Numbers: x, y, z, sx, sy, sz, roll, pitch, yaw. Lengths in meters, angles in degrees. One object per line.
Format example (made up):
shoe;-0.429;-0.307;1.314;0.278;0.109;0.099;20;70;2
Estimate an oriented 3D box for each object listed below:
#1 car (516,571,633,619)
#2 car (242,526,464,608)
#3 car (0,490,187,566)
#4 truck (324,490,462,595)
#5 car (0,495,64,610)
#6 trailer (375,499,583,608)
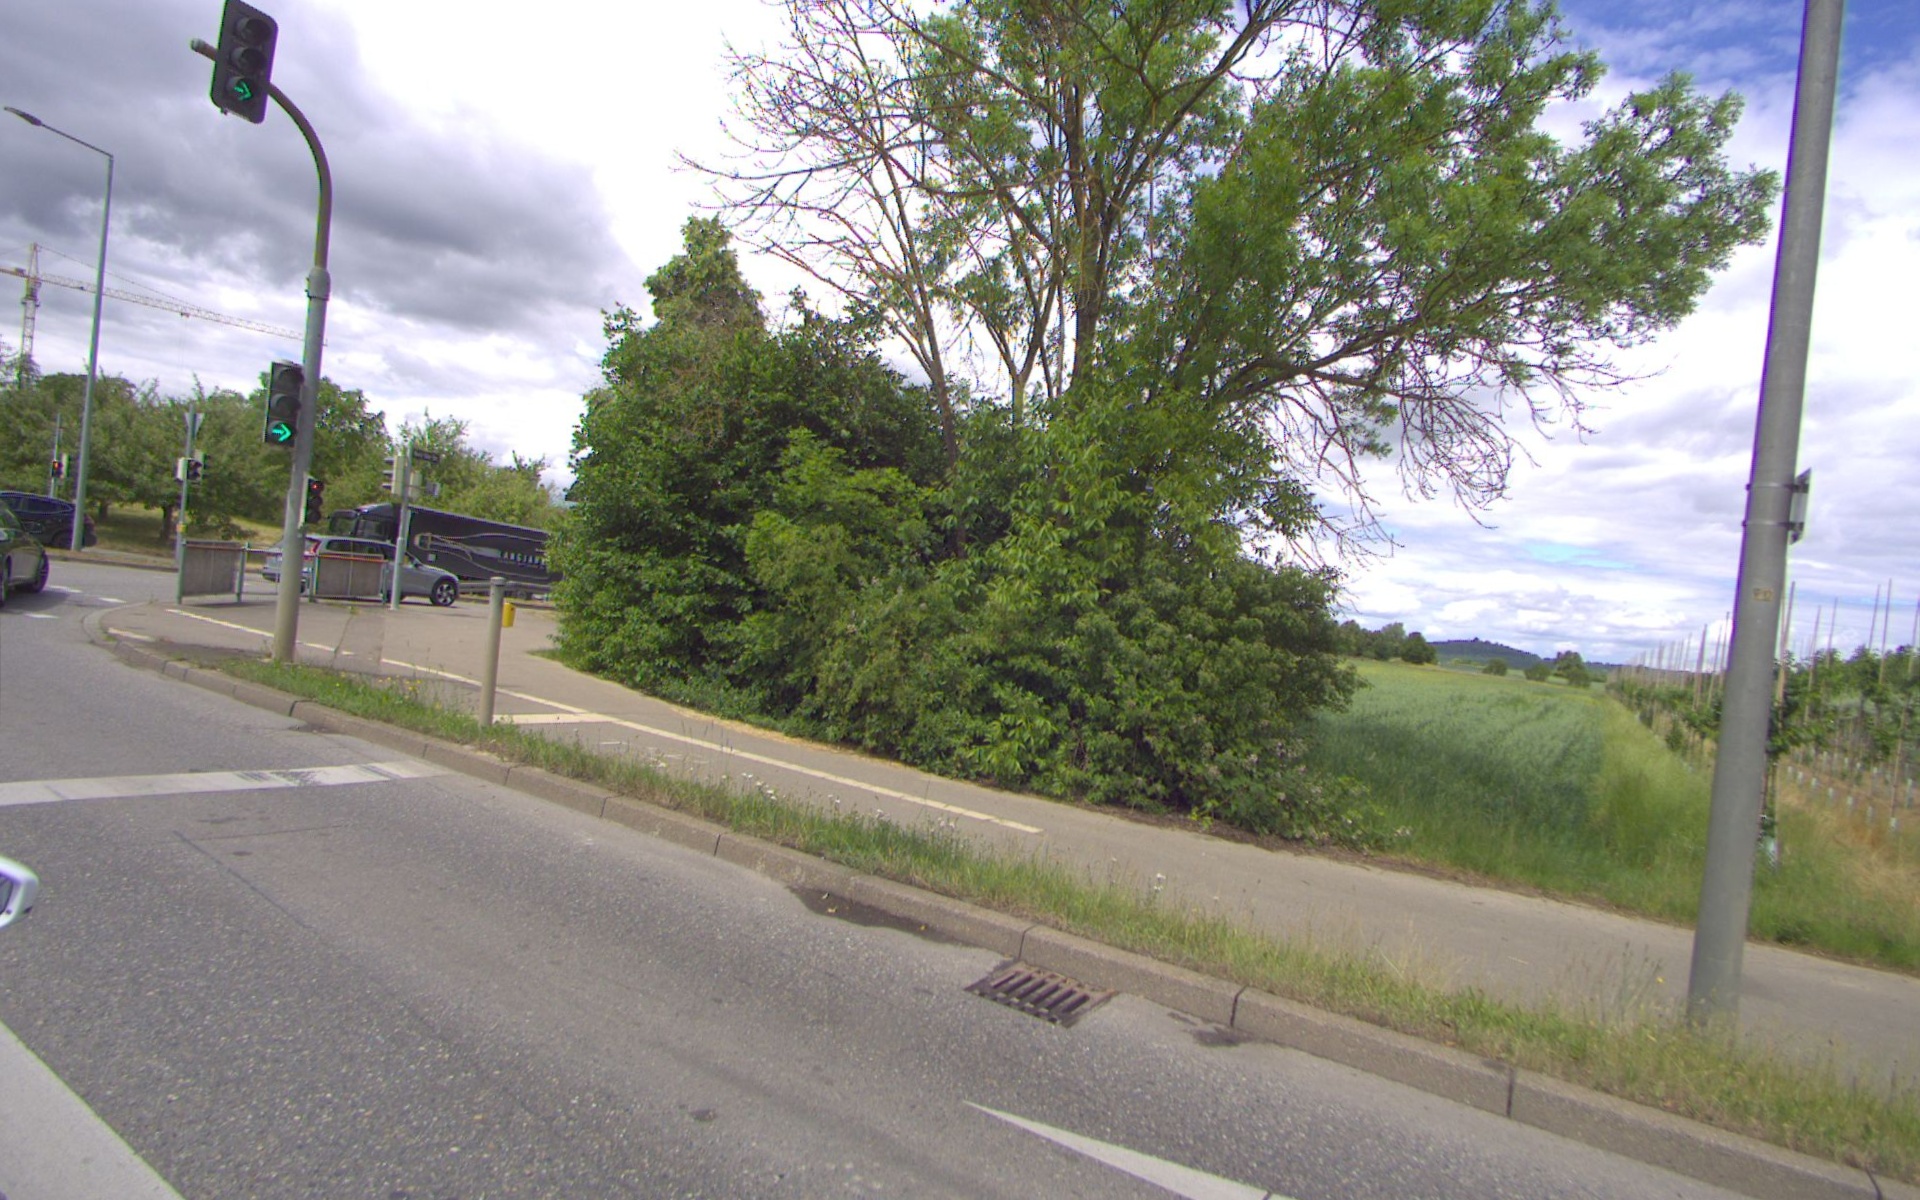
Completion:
car;-16.016;-0.176;41.932;1.972;1.437;3.982;7;-1;42
car;-14.769;-0.748;24.804;1.834;1.537;4.445;7;0;19
car;-25.486;-2.071;29.198;1.964;1.635;4.314;7;0;26
truck;-22.335;-2.218;39.745;1.971;3.511;3.985;7;0;39
car;-14.080;-0.794;13.854;1.861;1.459;5.150;6;1;-35
trailer;-20.140;-1.842;42.606;1.970;3.500;7.584;7;-1;38
